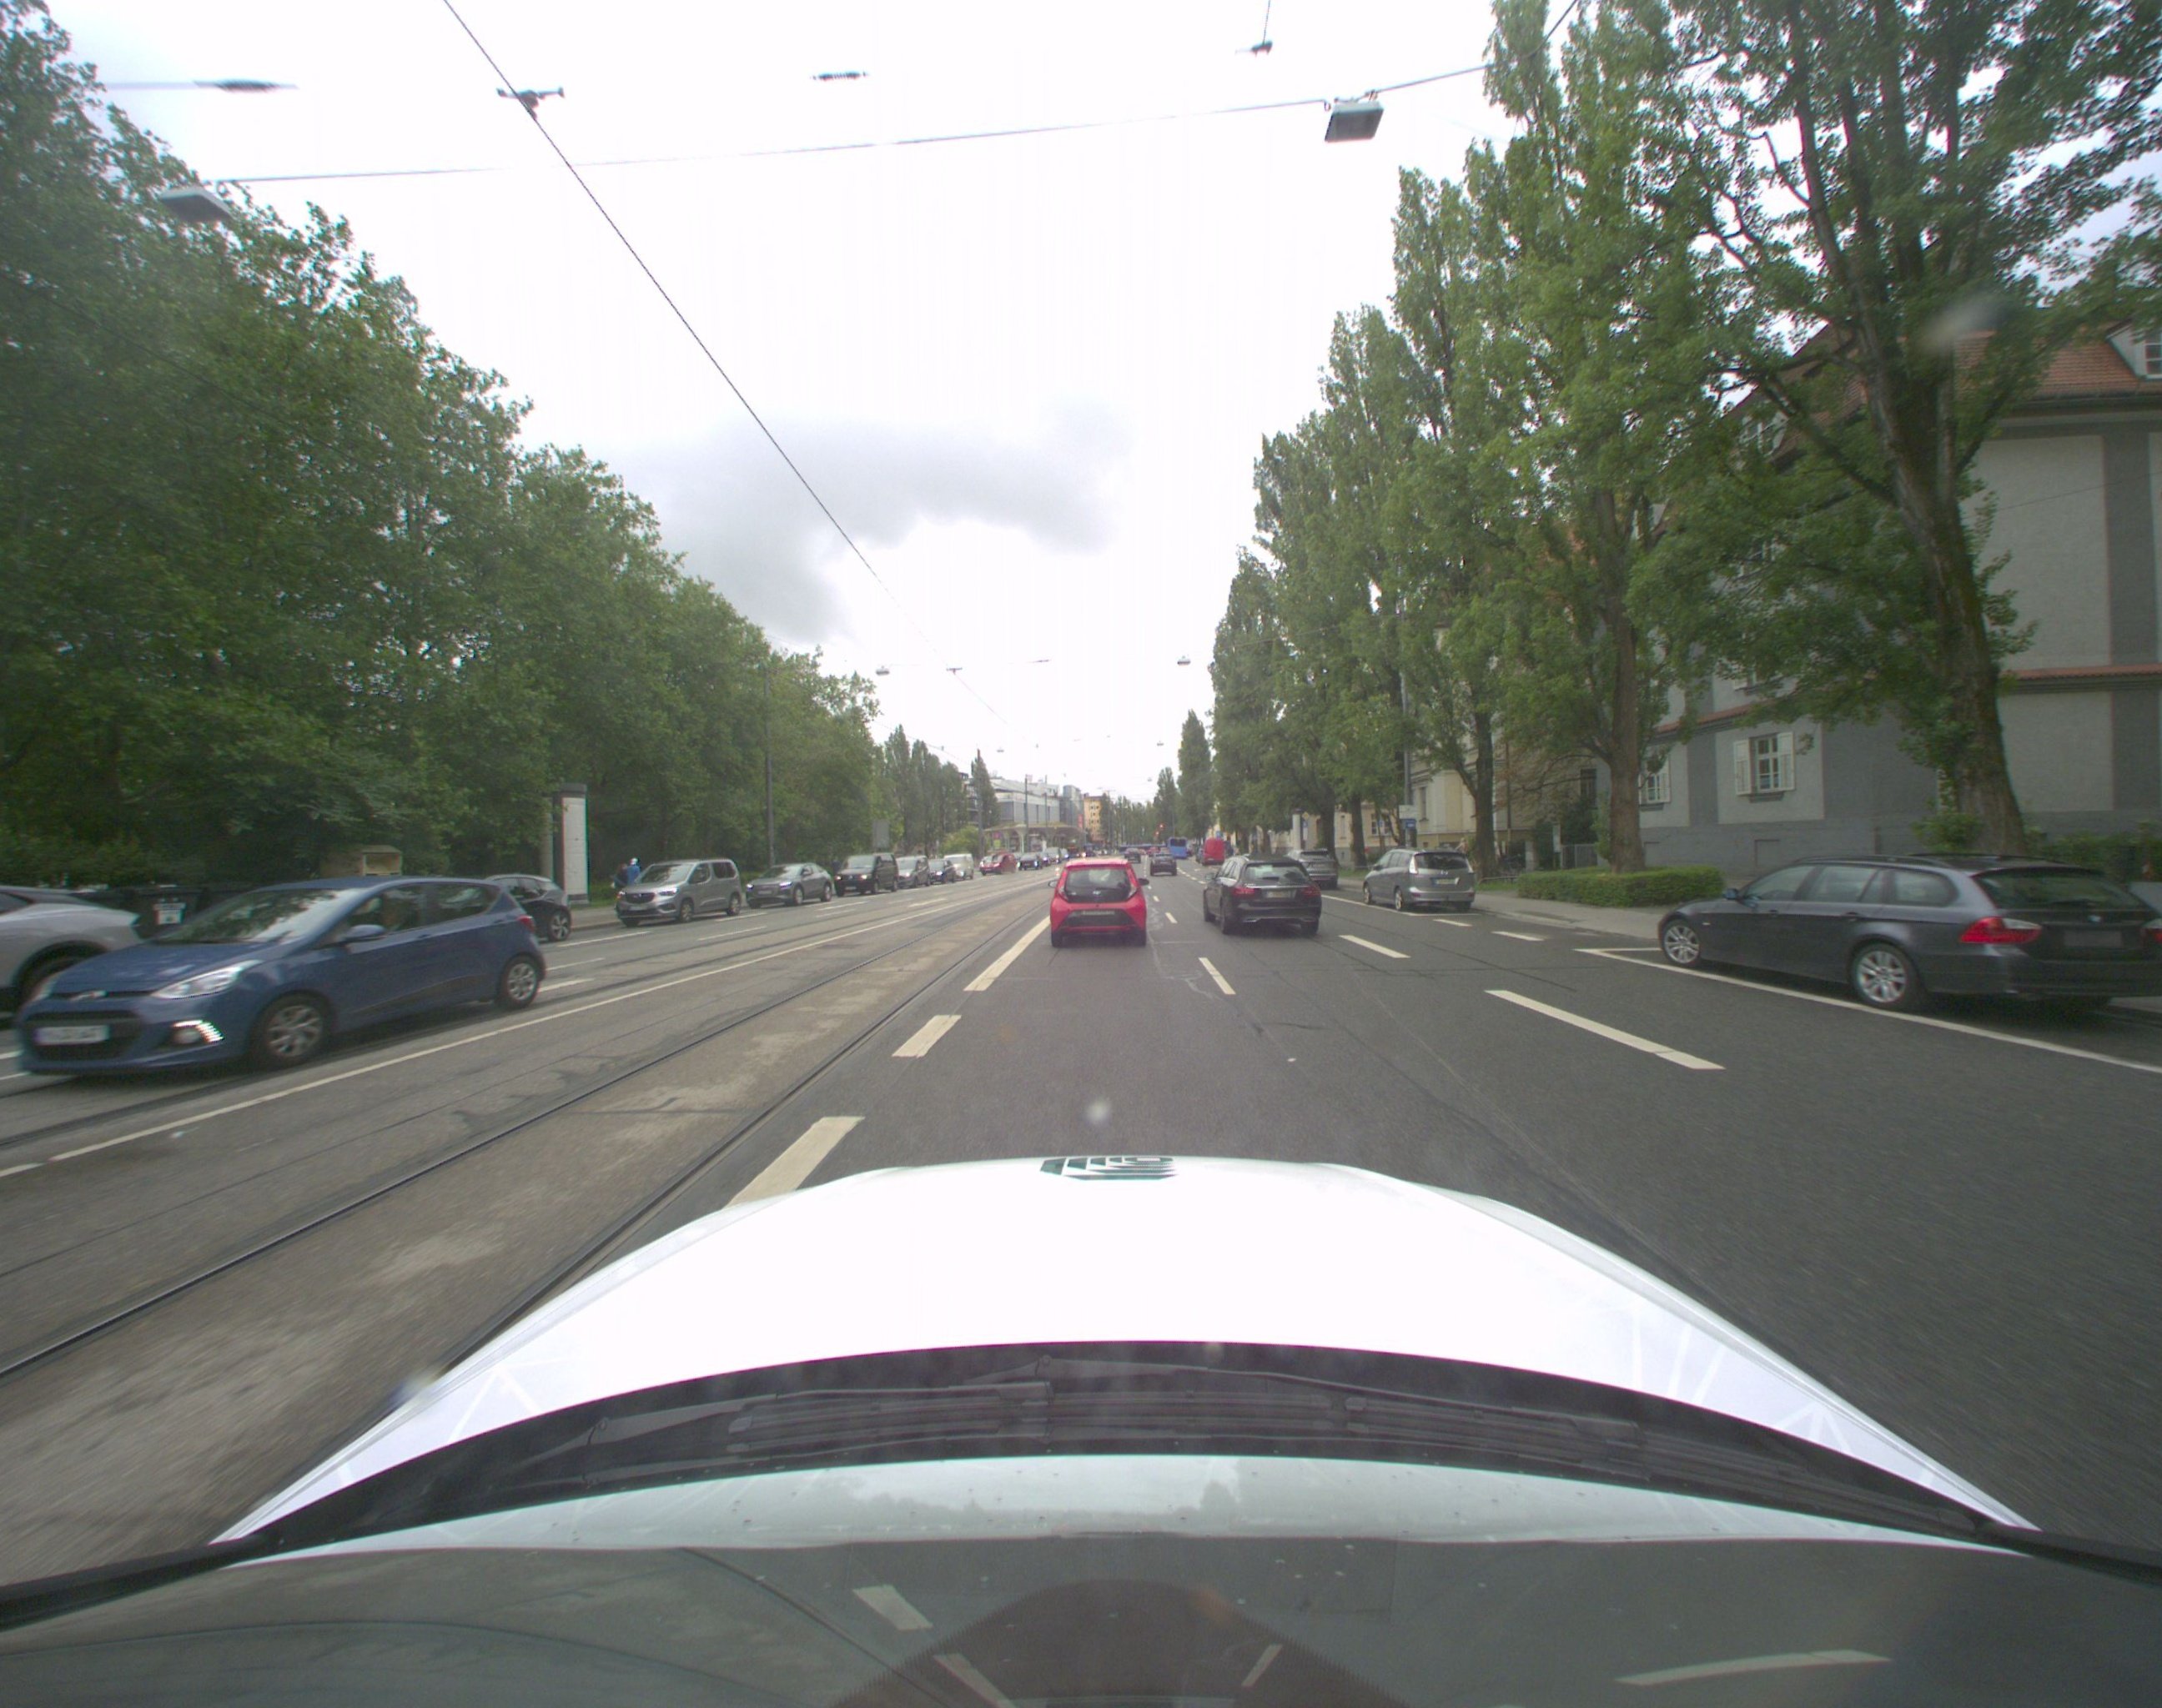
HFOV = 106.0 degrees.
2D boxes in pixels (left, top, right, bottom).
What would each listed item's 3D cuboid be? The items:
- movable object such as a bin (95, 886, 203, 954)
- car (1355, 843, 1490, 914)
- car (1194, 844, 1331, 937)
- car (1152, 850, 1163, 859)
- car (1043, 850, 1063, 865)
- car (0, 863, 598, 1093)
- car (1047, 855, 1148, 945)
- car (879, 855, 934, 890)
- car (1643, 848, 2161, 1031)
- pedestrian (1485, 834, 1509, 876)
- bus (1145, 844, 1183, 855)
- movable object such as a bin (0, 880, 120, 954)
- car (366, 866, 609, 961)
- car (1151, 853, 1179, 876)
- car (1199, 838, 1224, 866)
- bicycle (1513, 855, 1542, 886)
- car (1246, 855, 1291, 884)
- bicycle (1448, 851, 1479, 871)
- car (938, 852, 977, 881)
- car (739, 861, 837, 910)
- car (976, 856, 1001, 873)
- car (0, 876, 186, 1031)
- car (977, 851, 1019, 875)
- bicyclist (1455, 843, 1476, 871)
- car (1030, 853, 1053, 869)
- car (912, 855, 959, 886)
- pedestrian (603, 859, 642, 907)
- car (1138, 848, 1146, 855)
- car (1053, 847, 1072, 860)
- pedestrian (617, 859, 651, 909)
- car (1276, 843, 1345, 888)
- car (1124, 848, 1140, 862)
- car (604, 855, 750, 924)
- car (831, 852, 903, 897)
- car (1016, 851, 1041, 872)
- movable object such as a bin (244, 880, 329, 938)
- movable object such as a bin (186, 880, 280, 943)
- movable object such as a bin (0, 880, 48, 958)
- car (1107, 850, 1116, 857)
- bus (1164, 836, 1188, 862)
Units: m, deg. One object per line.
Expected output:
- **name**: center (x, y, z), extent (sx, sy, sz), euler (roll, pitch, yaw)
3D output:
- **movable object such as a bin**: center (-19.790, 1.377, 17.331), extent (0.931, 1.353, 1.158), euler (1, 0, -1)
- **car**: center (8.886, 0.584, 21.648), extent (1.792, 1.612, 4.550), euler (-2, 0, 2)
- **car**: center (3.477, 0.611, 16.496), extent (1.856, 1.549, 4.706), euler (-2, 1, 2)
- **car**: center (12.957, 0.084, 138.410), extent (1.773, 1.486, 4.004), euler (-2, 0, 4)
- **car**: center (-3.271, 0.386, 95.676), extent (1.791, 1.665, 4.524), euler (-4, 0, 4)
- **car**: center (-6.946, 0.890, 7.790), extent (1.791, 1.522, 4.359), euler (-2, -1, 4)
- **car**: center (0.313, 0.743, 14.879), extent (1.623, 1.440, 3.377), euler (0, 0, 1)
- **car**: center (-9.849, 1.021, 46.370), extent (1.791, 1.788, 4.523), euler (-4, 0, 4)
- **car**: center (8.325, 0.679, 8.650), extent (1.792, 1.398, 4.384), euler (-2, 0, 2)
- **pedestrian**: center (17.339, 0.030, 33.965), extent (0.588, 1.738, 0.825), euler (-1, 1, 4)
- **bus**: center (23.525, -1.377, 231.941), extent (10.521, 2.846, 2.000), euler (-1, 2, 0)
- **movable object such as a bin**: center (-19.960, 1.201, 15.954), extent (0.931, 1.353, 1.082), euler (1, 0, -1)
- **car**: center (-12.516, 1.160, 17.603), extent (1.791, 1.667, 4.359), euler (-2, 0, 4)
- **car**: center (5.704, 0.698, 55.711), extent (1.773, 1.486, 4.004), euler (-1, 0, 4)
- **car**: center (12.815, -0.270, 79.988), extent (1.985, 2.574, 4.685), euler (-1, 2, 4)
- **bicycle**: center (15.033, 0.537, 27.436), extent (0.353, 0.988, 1.229), euler (-1, 2, 4)
- **car**: center (10.429, 0.839, 45.494), extent (1.791, 1.508, 4.004), euler (-1, 0, 4)
- **bicycle**: center (18.633, 0.339, 39.747), extent (0.650, 0.923, 1.904), euler (-2, 0, 2)
- **car**: center (-8.874, 0.874, 58.830), extent (1.792, 1.861, 4.634), euler (-4, 0, 3)
- **car**: center (-11.089, 1.147, 31.201), extent (1.791, 1.634, 4.593), euler (-2, 0, 4)
- **car**: center (-9.252, 1.044, 81.476), extent (1.793, 1.530, 4.520), euler (-4, 0, 1)
- **car**: center (-12.752, 1.143, 8.168), extent (1.791, 1.642, 5.004), euler (-2, 0, 4)
- **car**: center (-6.999, 0.742, 69.097), extent (1.785, 1.788, 4.539), euler (-4, 0, 17)
- **bicyclist**: center (18.651, 0.140, 39.549), extent (0.657, 1.314, 0.706), euler (-2, 0, 2)
- **car**: center (-4.195, 0.731, 87.622), extent (1.791, 1.530, 4.524), euler (-4, 0, 4)
- **car**: center (-9.296, 1.001, 52.423), extent (1.791, 1.788, 4.523), euler (-4, 0, 4)
- **pedestrian**: center (-16.500, 1.029, 29.335), extent (0.659, 1.684, 0.992), euler (-1, 2, 12)
- **car**: center (15.156, -0.635, 202.343), extent (1.794, 1.596, 4.007), euler (-1, -3, 7)
- **car**: center (-2.472, -0.063, 109.042), extent (1.790, 1.665, 4.527), euler (-4, 0, 6)
- **pedestrian**: center (-16.008, 1.066, 29.177), extent (0.659, 1.790, 0.821), euler (-1, -1, 12)
- **car**: center (9.755, 0.473, 35.040), extent (1.792, 1.742, 4.703), euler (-2, 0, 2)
- **car**: center (5.755, 0.089, 91.916), extent (1.728, 1.549, 4.581), euler (-2, 0, 4)
- **car**: center (-11.699, 0.958, 23.980), extent (1.791, 1.779, 4.477), euler (-2, 0, 4)
- **car**: center (-10.233, 0.921, 39.362), extent (1.791, 1.991, 5.044), euler (-2, 0, 4)
- **car**: center (-4.966, 0.699, 78.009), extent (1.792, 1.788, 4.521), euler (-4, 0, 2)
- **movable object such as a bin**: center (-19.564, 1.335, 20.090), extent (0.931, 1.353, 1.158), euler (1, 0, -1)
- **movable object such as a bin**: center (-19.538, 1.300, 18.799), extent (0.931, 1.353, 1.158), euler (1, 0, -1)
- **movable object such as a bin**: center (-19.966, 1.177, 14.789), extent (0.931, 1.353, 1.082), euler (3, 0, -1)
- **car**: center (6.557, -0.059, 175.203), extent (1.773, 1.486, 4.004), euler (-1, 0, 4)
- **bus**: center (13.589, -0.789, 117.372), extent (2.893, 3.395, 10.818), euler (-1, 2, 4)
